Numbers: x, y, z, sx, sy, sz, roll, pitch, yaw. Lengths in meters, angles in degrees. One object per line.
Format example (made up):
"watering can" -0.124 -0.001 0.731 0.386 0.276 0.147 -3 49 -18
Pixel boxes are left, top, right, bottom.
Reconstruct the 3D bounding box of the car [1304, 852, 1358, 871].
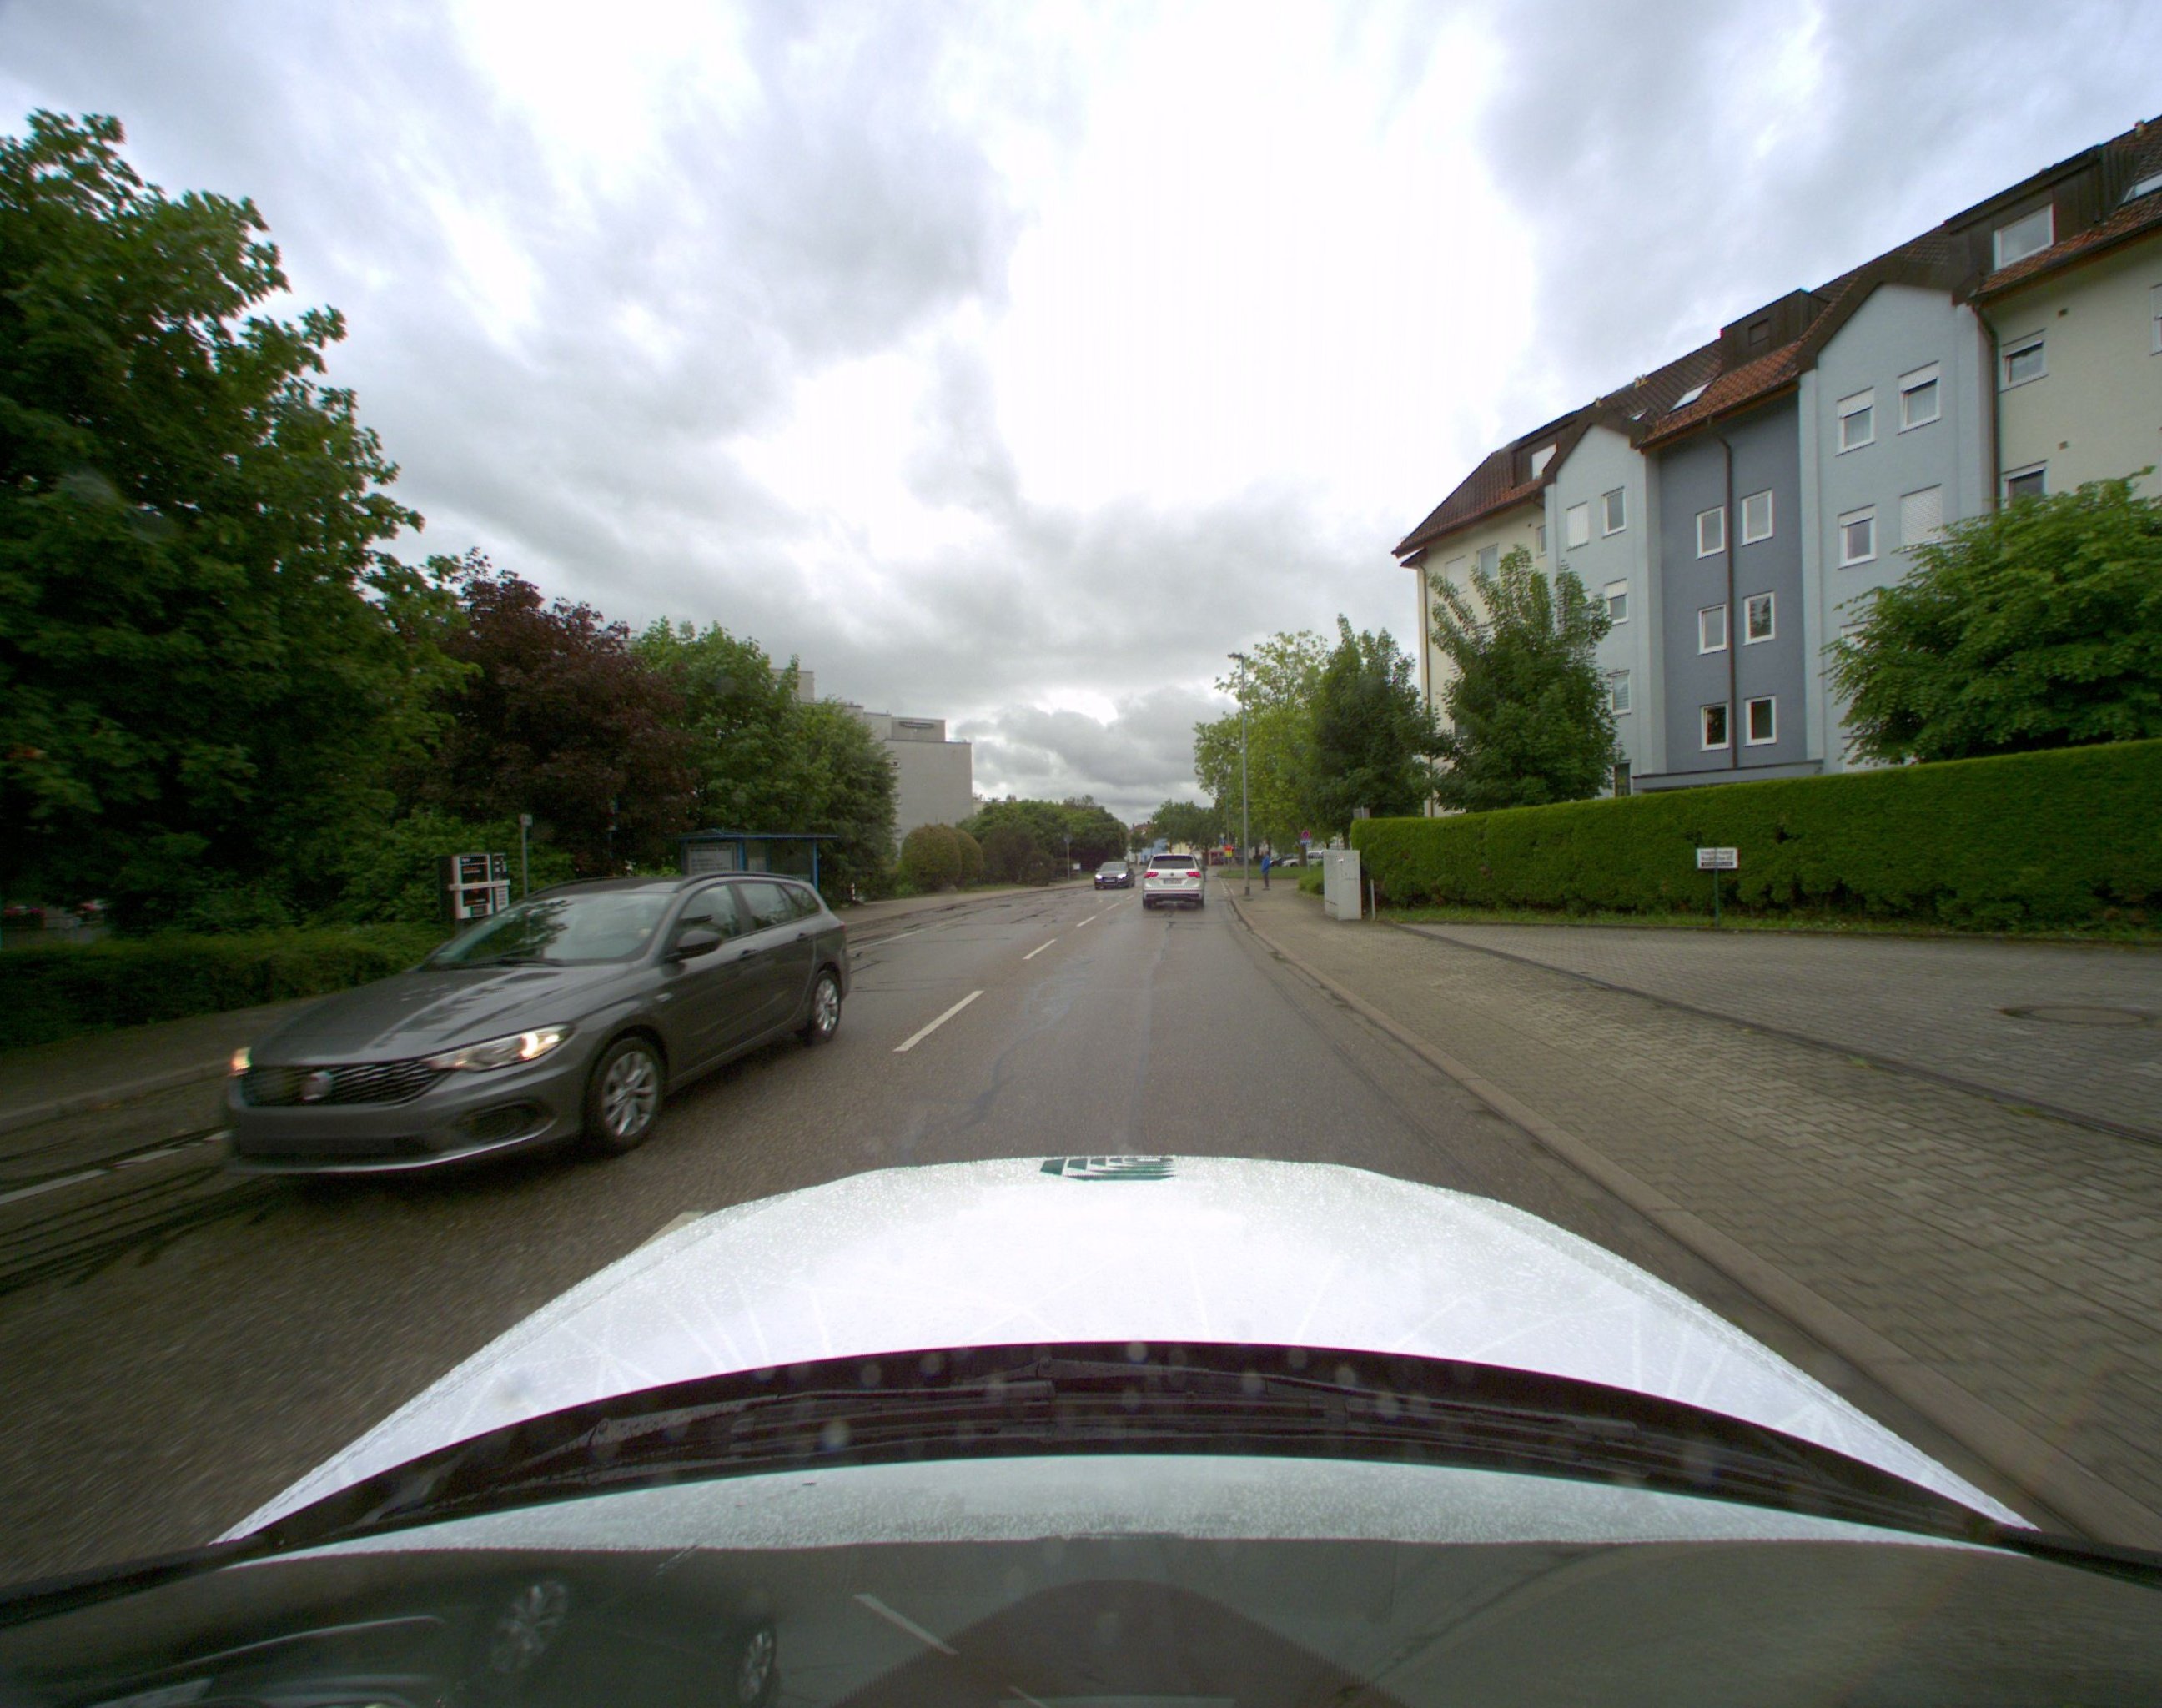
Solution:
"car" 21.209 0.608 69.188 3.993 1.443 1.766 -2 0 3

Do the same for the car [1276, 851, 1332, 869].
"car" 19.735 0.542 72.162 4.553 1.443 1.766 -2 0 3

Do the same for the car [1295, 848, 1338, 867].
"car" 24.258 0.379 84.024 2.001 1.881 4.182 -1 -1 -22

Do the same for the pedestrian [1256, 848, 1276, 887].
"pedestrian" 7.863 0.566 34.599 0.589 1.666 0.773 0 -1 -8

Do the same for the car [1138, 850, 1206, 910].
"car" 2.919 0.758 25.377 1.854 1.651 4.010 -2 0 9

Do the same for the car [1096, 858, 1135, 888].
"car" 1.864 0.952 43.005 1.664 1.443 4.008 -2 0 7

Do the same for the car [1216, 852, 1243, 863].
"car" 24.542 0.531 134.499 4.009 1.721 1.907 -1 -1 -28

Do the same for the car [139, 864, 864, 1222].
"car" -3.207 0.896 5.790 1.767 1.473 4.257 -3 0 6

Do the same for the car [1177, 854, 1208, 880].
"car" 7.014 0.798 51.610 1.760 1.551 4.006 -2 0 6

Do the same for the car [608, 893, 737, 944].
"car" -14.599 2.277 29.383 1.981 1.421 4.179 -3 0 10

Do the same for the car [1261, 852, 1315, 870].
"car" 18.971 0.612 74.866 4.553 1.443 1.766 -2 0 3

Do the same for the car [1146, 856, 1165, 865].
"car" 11.509 1.018 126.346 1.994 1.420 3.986 -1 0 -10
